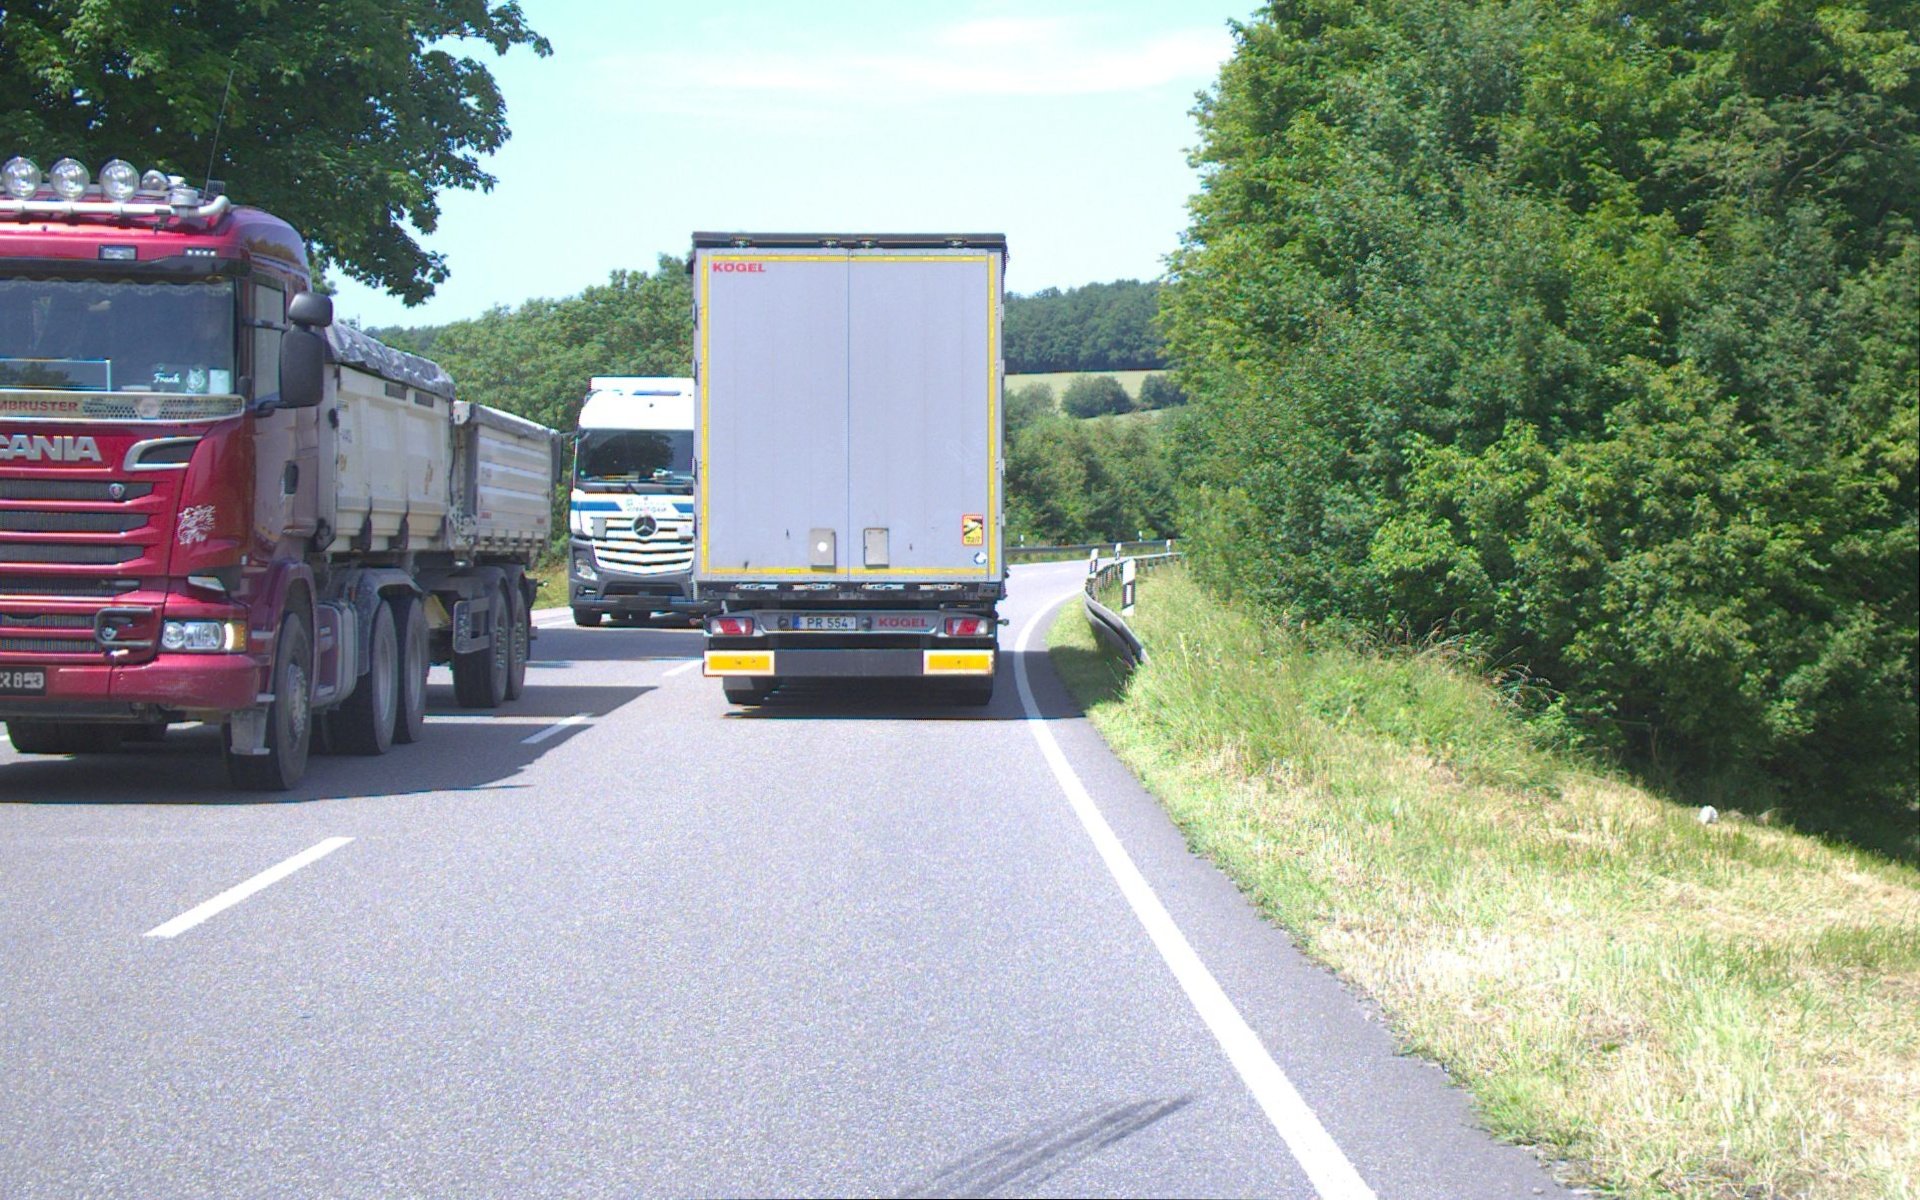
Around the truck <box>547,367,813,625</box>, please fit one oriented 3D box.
[{"bbox_3d":[-4.681,-1.800,61.286,2.560,3.926,16.160,2,1,3],"label":"truck"}]

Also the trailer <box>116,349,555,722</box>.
[{"bbox_3d":[-5.230,-0.547,30.026,2.643,2.863,7.078,0,1,-1],"label":"trailer"}]

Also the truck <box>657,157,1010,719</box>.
[{"bbox_3d":[-1.018,-1.443,33.713,2.817,4.517,11.768,1,1,0],"label":"truck"}]

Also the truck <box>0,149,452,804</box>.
[{"bbox_3d":[-5.111,-0.727,22.538,2.530,3.547,7.762,0,1,-1],"label":"truck"}]
